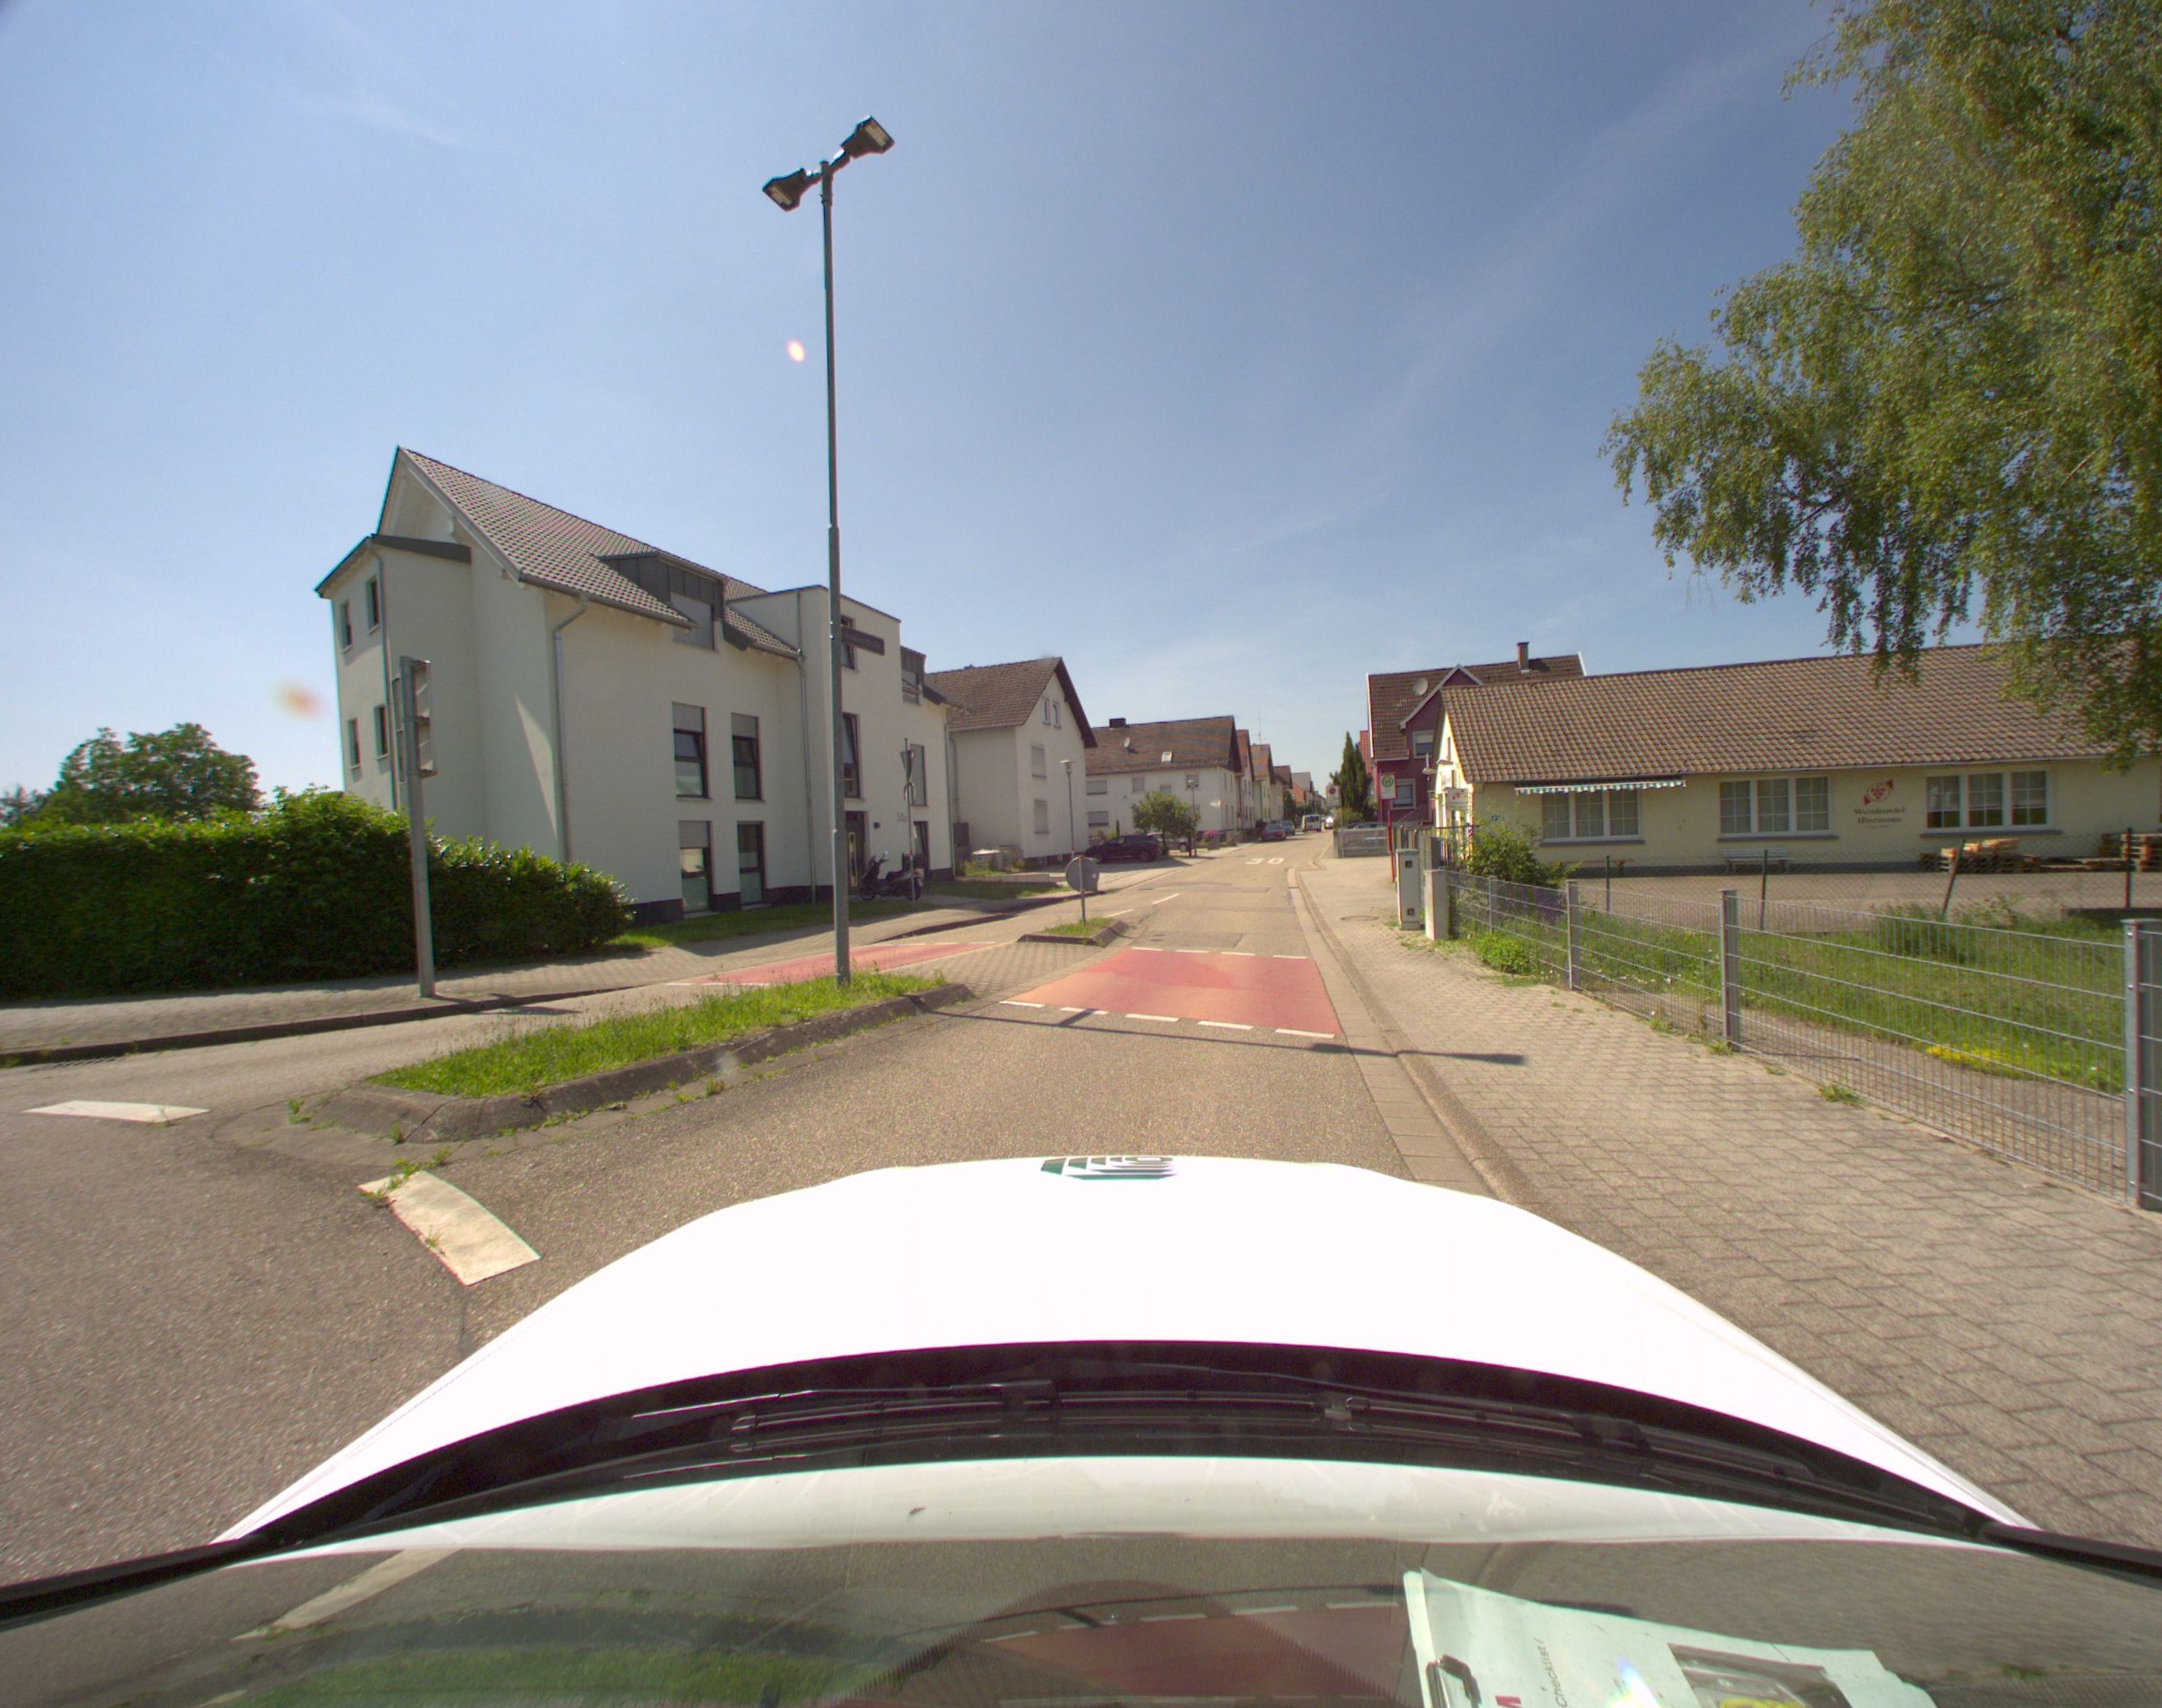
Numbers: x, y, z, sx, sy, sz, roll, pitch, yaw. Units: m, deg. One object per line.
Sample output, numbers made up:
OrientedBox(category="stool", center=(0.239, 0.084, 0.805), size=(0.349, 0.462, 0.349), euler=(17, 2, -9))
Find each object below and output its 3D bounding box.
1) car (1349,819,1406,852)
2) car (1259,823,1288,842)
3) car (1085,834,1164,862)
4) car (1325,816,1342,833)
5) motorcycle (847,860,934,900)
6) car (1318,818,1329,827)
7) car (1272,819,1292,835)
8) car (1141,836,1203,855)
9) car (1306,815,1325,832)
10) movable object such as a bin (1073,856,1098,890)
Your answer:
OrientedBox(category="car", center=(15.462, -0.937, 42.577), size=(2.722, 1.597, 1.177), euler=(-2, 0, 18))
OrientedBox(category="car", center=(16.852, -1.896, 71.059), size=(1.977, 1.553, 4.020), euler=(-2, 1, 19))
OrientedBox(category="car", center=(2.400, -0.330, 44.353), size=(3.957, 1.383, 1.667), euler=(-2, 1, 15))
OrientedBox(category="car", center=(31.869, -3.695, 102.793), size=(1.936, 2.072, 4.019), euler=(-2, 0, 18))
OrientedBox(category="motorcycle", center=(-5.219, 0.711, 22.292), size=(2.340, 1.013, 0.675), euler=(-2, -1, 21))
OrientedBox(category="car", center=(52.515, -6.769, 176.214), size=(1.937, 1.813, 4.021), euler=(-1, 0, 21))
OrientedBox(category="car", center=(20.989, -2.786, 85.113), size=(1.911, 1.604, 4.015), euler=(-2, 1, 13))
OrientedBox(category="car", center=(6.355, -0.609, 56.771), size=(3.957, 1.190, 1.848), euler=(-2, 1, 15))
OrientedBox(category="car", center=(26.343, -3.415, 91.522), size=(1.836, 1.787, 4.019), euler=(-2, 0, 18))
OrientedBox(category="movable object such as a bin", center=(0.156, 0.614, 26.704), size=(0.639, 1.083, 0.461), euler=(-2, 1, 26))
